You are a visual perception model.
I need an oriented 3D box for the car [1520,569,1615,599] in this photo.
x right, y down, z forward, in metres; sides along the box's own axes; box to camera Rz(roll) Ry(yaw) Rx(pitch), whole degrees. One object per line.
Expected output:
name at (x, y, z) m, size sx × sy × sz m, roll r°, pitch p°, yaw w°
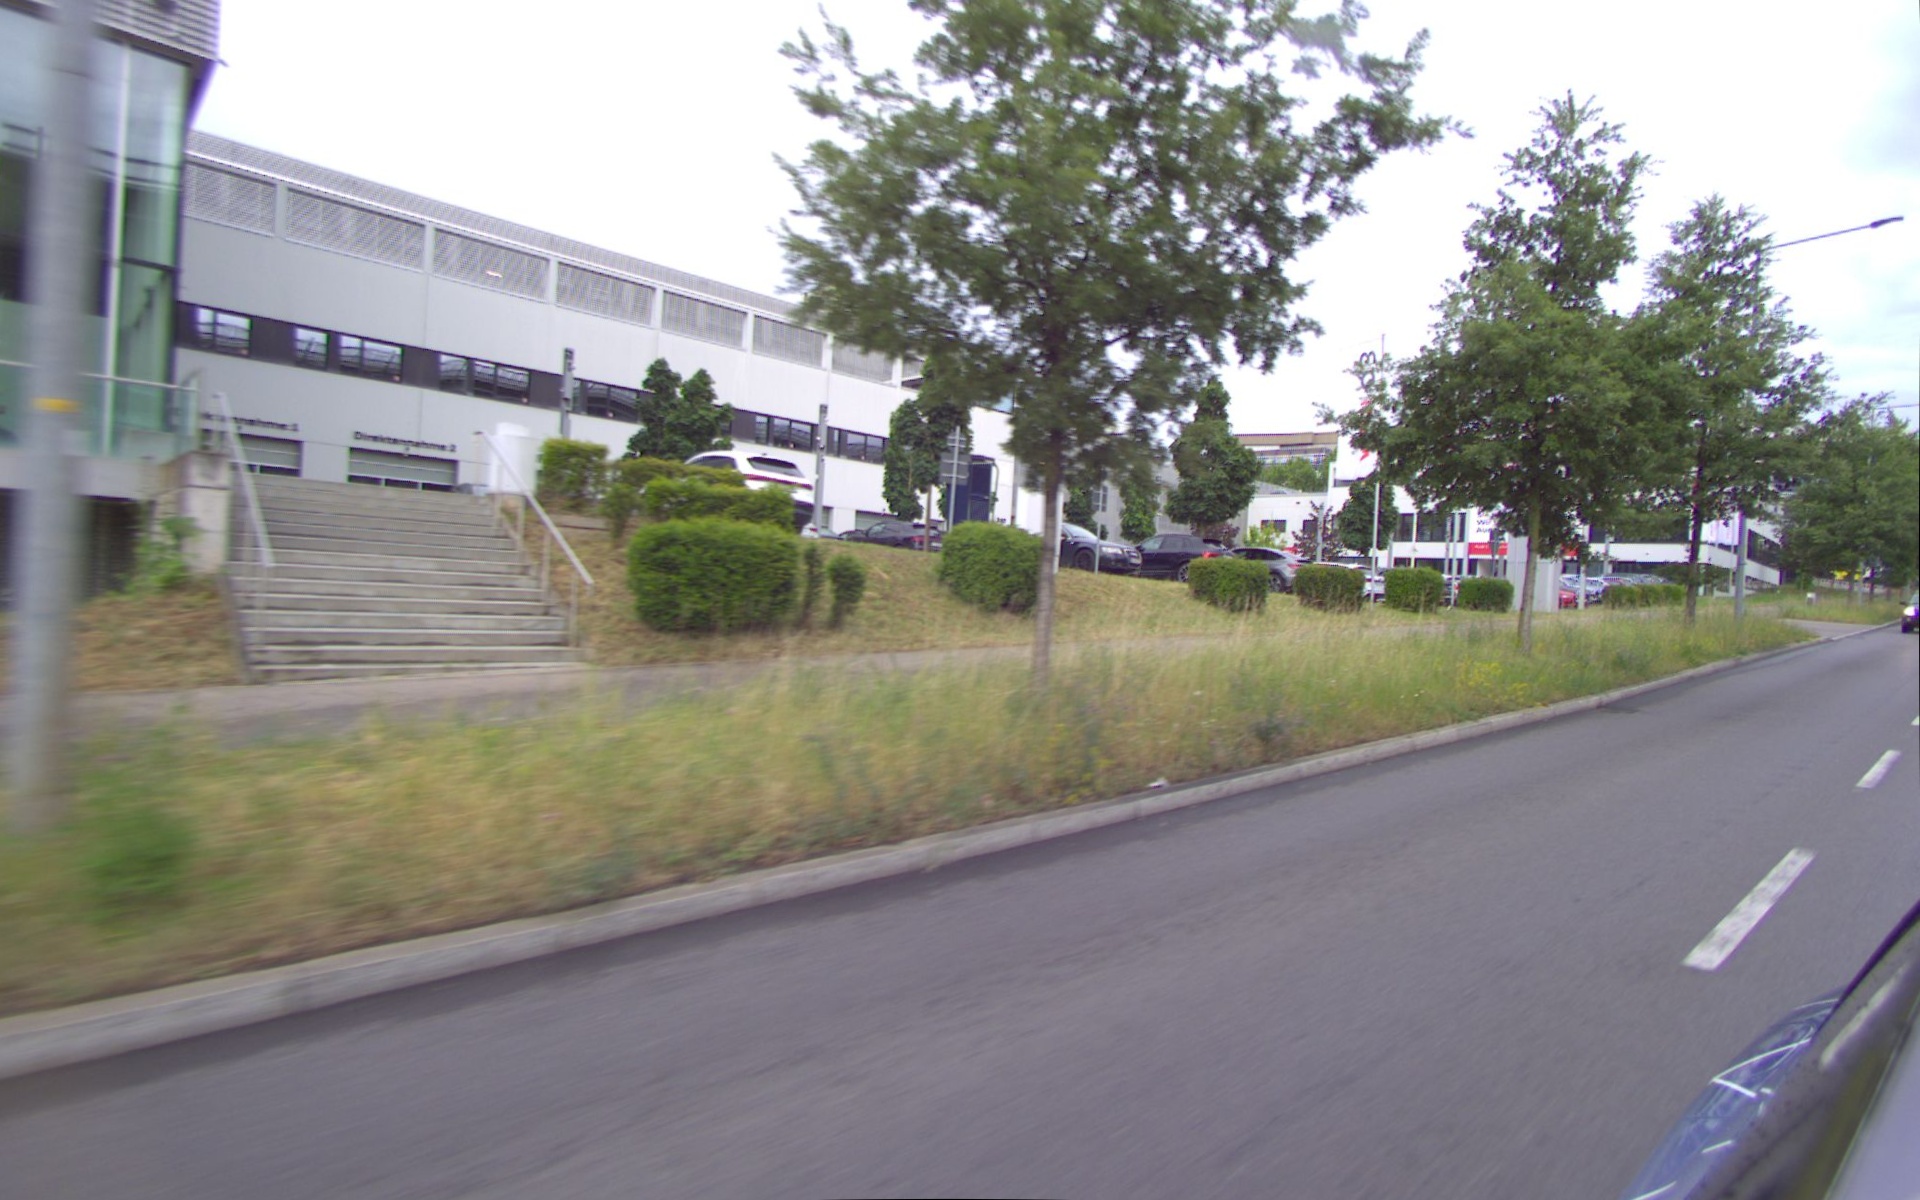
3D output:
car at (36.227, -1.011, 60.417) m, size 1.899 × 1.569 × 4.467 m, roll -2°, pitch 4°, yaw -43°

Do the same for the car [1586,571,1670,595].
car at (45.182, -1.189, 68.519) m, size 1.899 × 1.364 × 4.404 m, roll -2°, pitch 5°, yaw -43°

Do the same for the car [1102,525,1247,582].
car at (6.468, -1.385, 30.833) m, size 1.664 × 1.594 × 4.109 m, roll 0°, pitch 1°, yaw -43°

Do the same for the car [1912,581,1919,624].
car at (37.897, 0.143, 38.577) m, size 4.039 × 1.629 × 1.828 m, roll 2°, pitch 0°, yaw -39°

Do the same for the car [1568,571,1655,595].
car at (42.610, -1.144, 66.279) m, size 1.899 × 1.473 × 4.467 m, roll -2°, pitch 3°, yaw -43°

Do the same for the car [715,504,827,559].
car at (-6.286, -2.204, 33.356) m, size 1.664 × 1.594 × 4.109 m, roll 0°, pitch 1°, yaw -43°

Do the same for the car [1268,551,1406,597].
car at (13.889, -1.002, 37.500) m, size 1.664 × 1.613 × 4.525 m, roll -2°, pitch 3°, yaw -43°

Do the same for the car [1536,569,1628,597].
car at (38.326, -1.068, 62.467) m, size 1.899 × 1.547 × 4.467 m, roll -2°, pitch 4°, yaw -43°

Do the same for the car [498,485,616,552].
car at (-11.062, -2.150, 27.640) m, size 1.663 × 1.594 × 4.111 m, roll 0°, pitch 1°, yaw -42°

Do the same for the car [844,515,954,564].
car at (-2.256, -2.136, 36.717) m, size 1.795 × 1.594 × 4.109 m, roll 0°, pitch 1°, yaw -43°

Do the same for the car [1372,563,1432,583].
car at (37.207, -2.319, 85.197) m, size 1.797 × 1.613 × 4.280 m, roll -2°, pitch 3°, yaw -45°

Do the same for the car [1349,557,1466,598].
car at (18.756, -0.952, 42.494) m, size 1.840 × 1.614 × 4.109 m, roll 0°, pitch 1°, yaw -43°

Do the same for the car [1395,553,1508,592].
car at (21.290, -1.231, 43.927) m, size 4.099 × 1.613 × 1.921 m, roll 2°, pitch 3°, yaw 39°

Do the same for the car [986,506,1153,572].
car at (2.847, -1.559, 27.156) m, size 1.664 × 1.594 × 4.425 m, roll 0°, pitch 1°, yaw -43°

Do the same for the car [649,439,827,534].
car at (-4.707, -2.251, 21.044) m, size 1.664 × 1.594 × 4.263 m, roll 0°, pitch 1°, yaw -43°

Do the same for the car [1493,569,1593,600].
car at (32.272, -0.884, 56.082) m, size 4.461 × 1.570 × 1.902 m, roll 3°, pitch 3°, yaw 43°

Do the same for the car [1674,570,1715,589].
car at (57.334, -1.620, 78.987) m, size 3.858 × 1.354 × 1.899 m, roll -2°, pitch 3°, yaw -44°

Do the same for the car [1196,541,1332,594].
car at (10.182, -1.078, 34.080) m, size 1.664 × 1.629 × 4.110 m, roll 1°, pitch 1°, yaw -43°
